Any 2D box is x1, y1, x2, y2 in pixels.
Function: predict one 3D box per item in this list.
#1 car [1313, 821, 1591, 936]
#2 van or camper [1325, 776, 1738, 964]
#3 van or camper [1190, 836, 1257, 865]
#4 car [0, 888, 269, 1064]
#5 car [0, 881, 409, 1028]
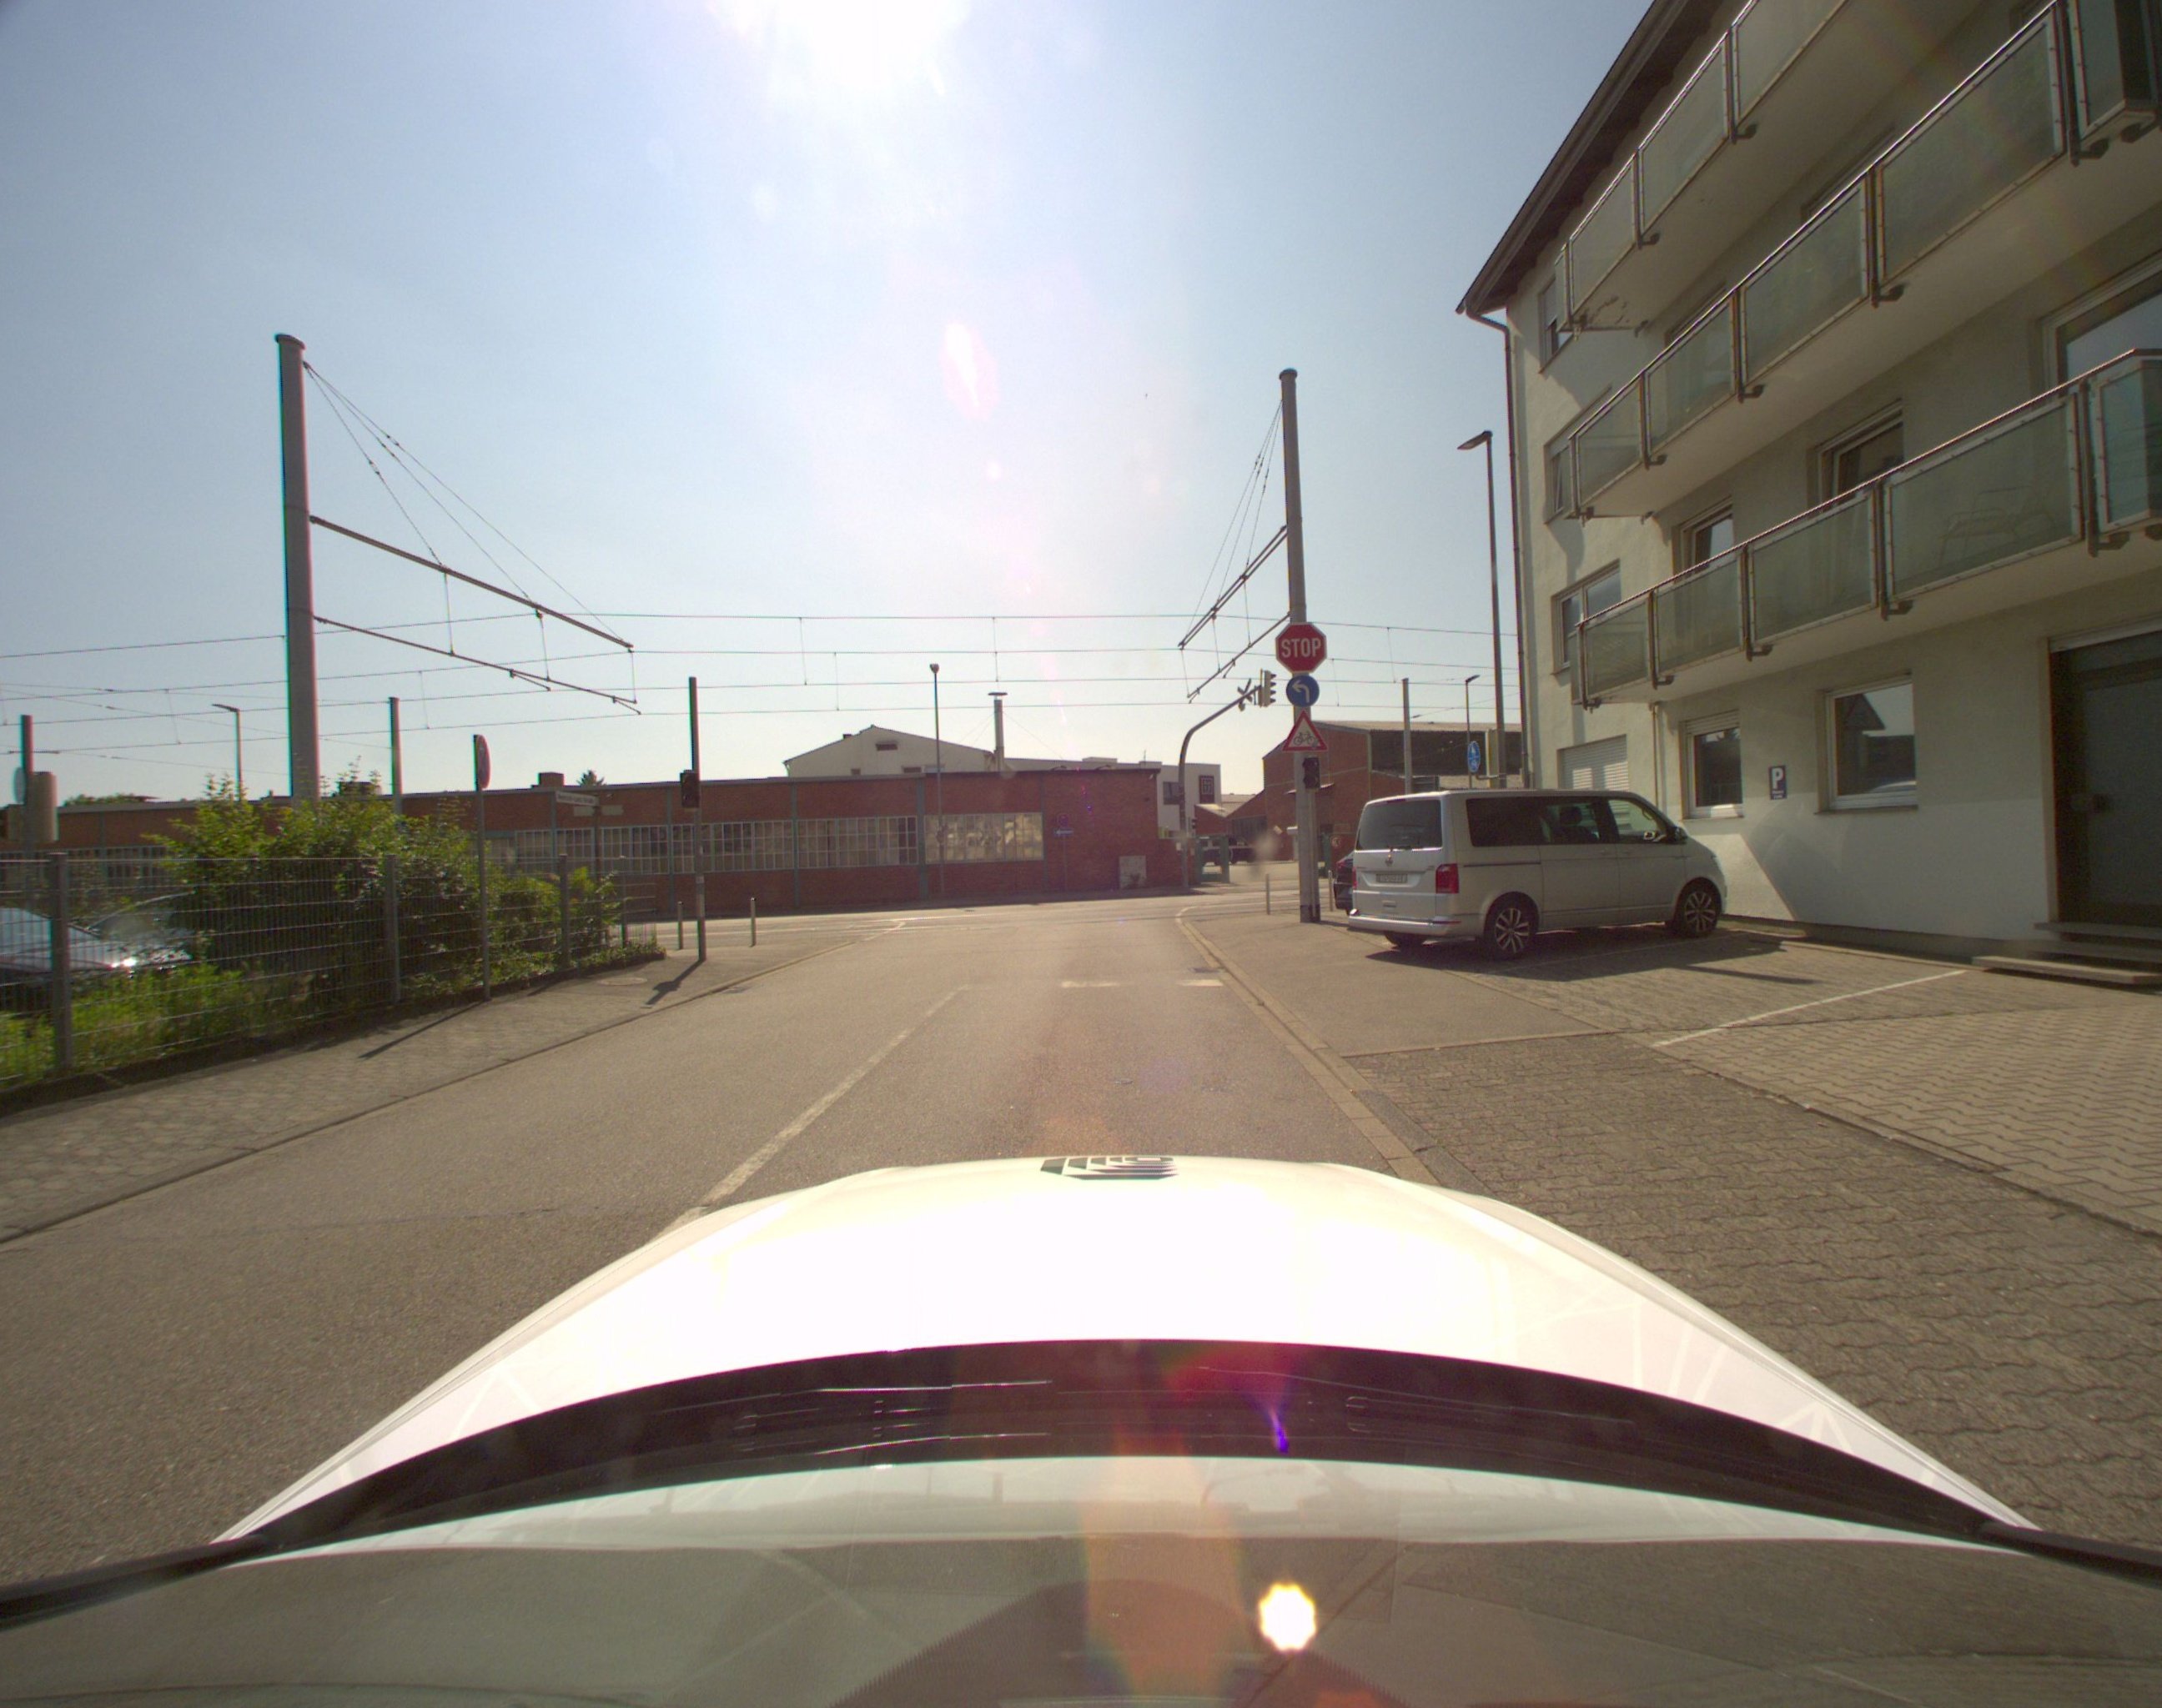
[{"bbox_3d":[5.966,0.331,13.130,3.978,1.521,1.866,-2,0,-23],"label":"car"},{"bbox_3d":[5.668,0.110,10.343,4.555,1.908,1.988,-3,0,-19],"label":"van or camper"},{"bbox_3d":[9.754,-0.211,55.734,4.439,1.900,1.979,0,-1,-34],"label":"van or camper"},{"bbox_3d":[-11.255,1.234,8.374,3.882,1.512,1.805,-3,0,-1],"label":"car"},{"bbox_3d":[-11.405,1.228,10.500,3.882,1.512,1.805,-3,0,-1],"label":"car"}]
